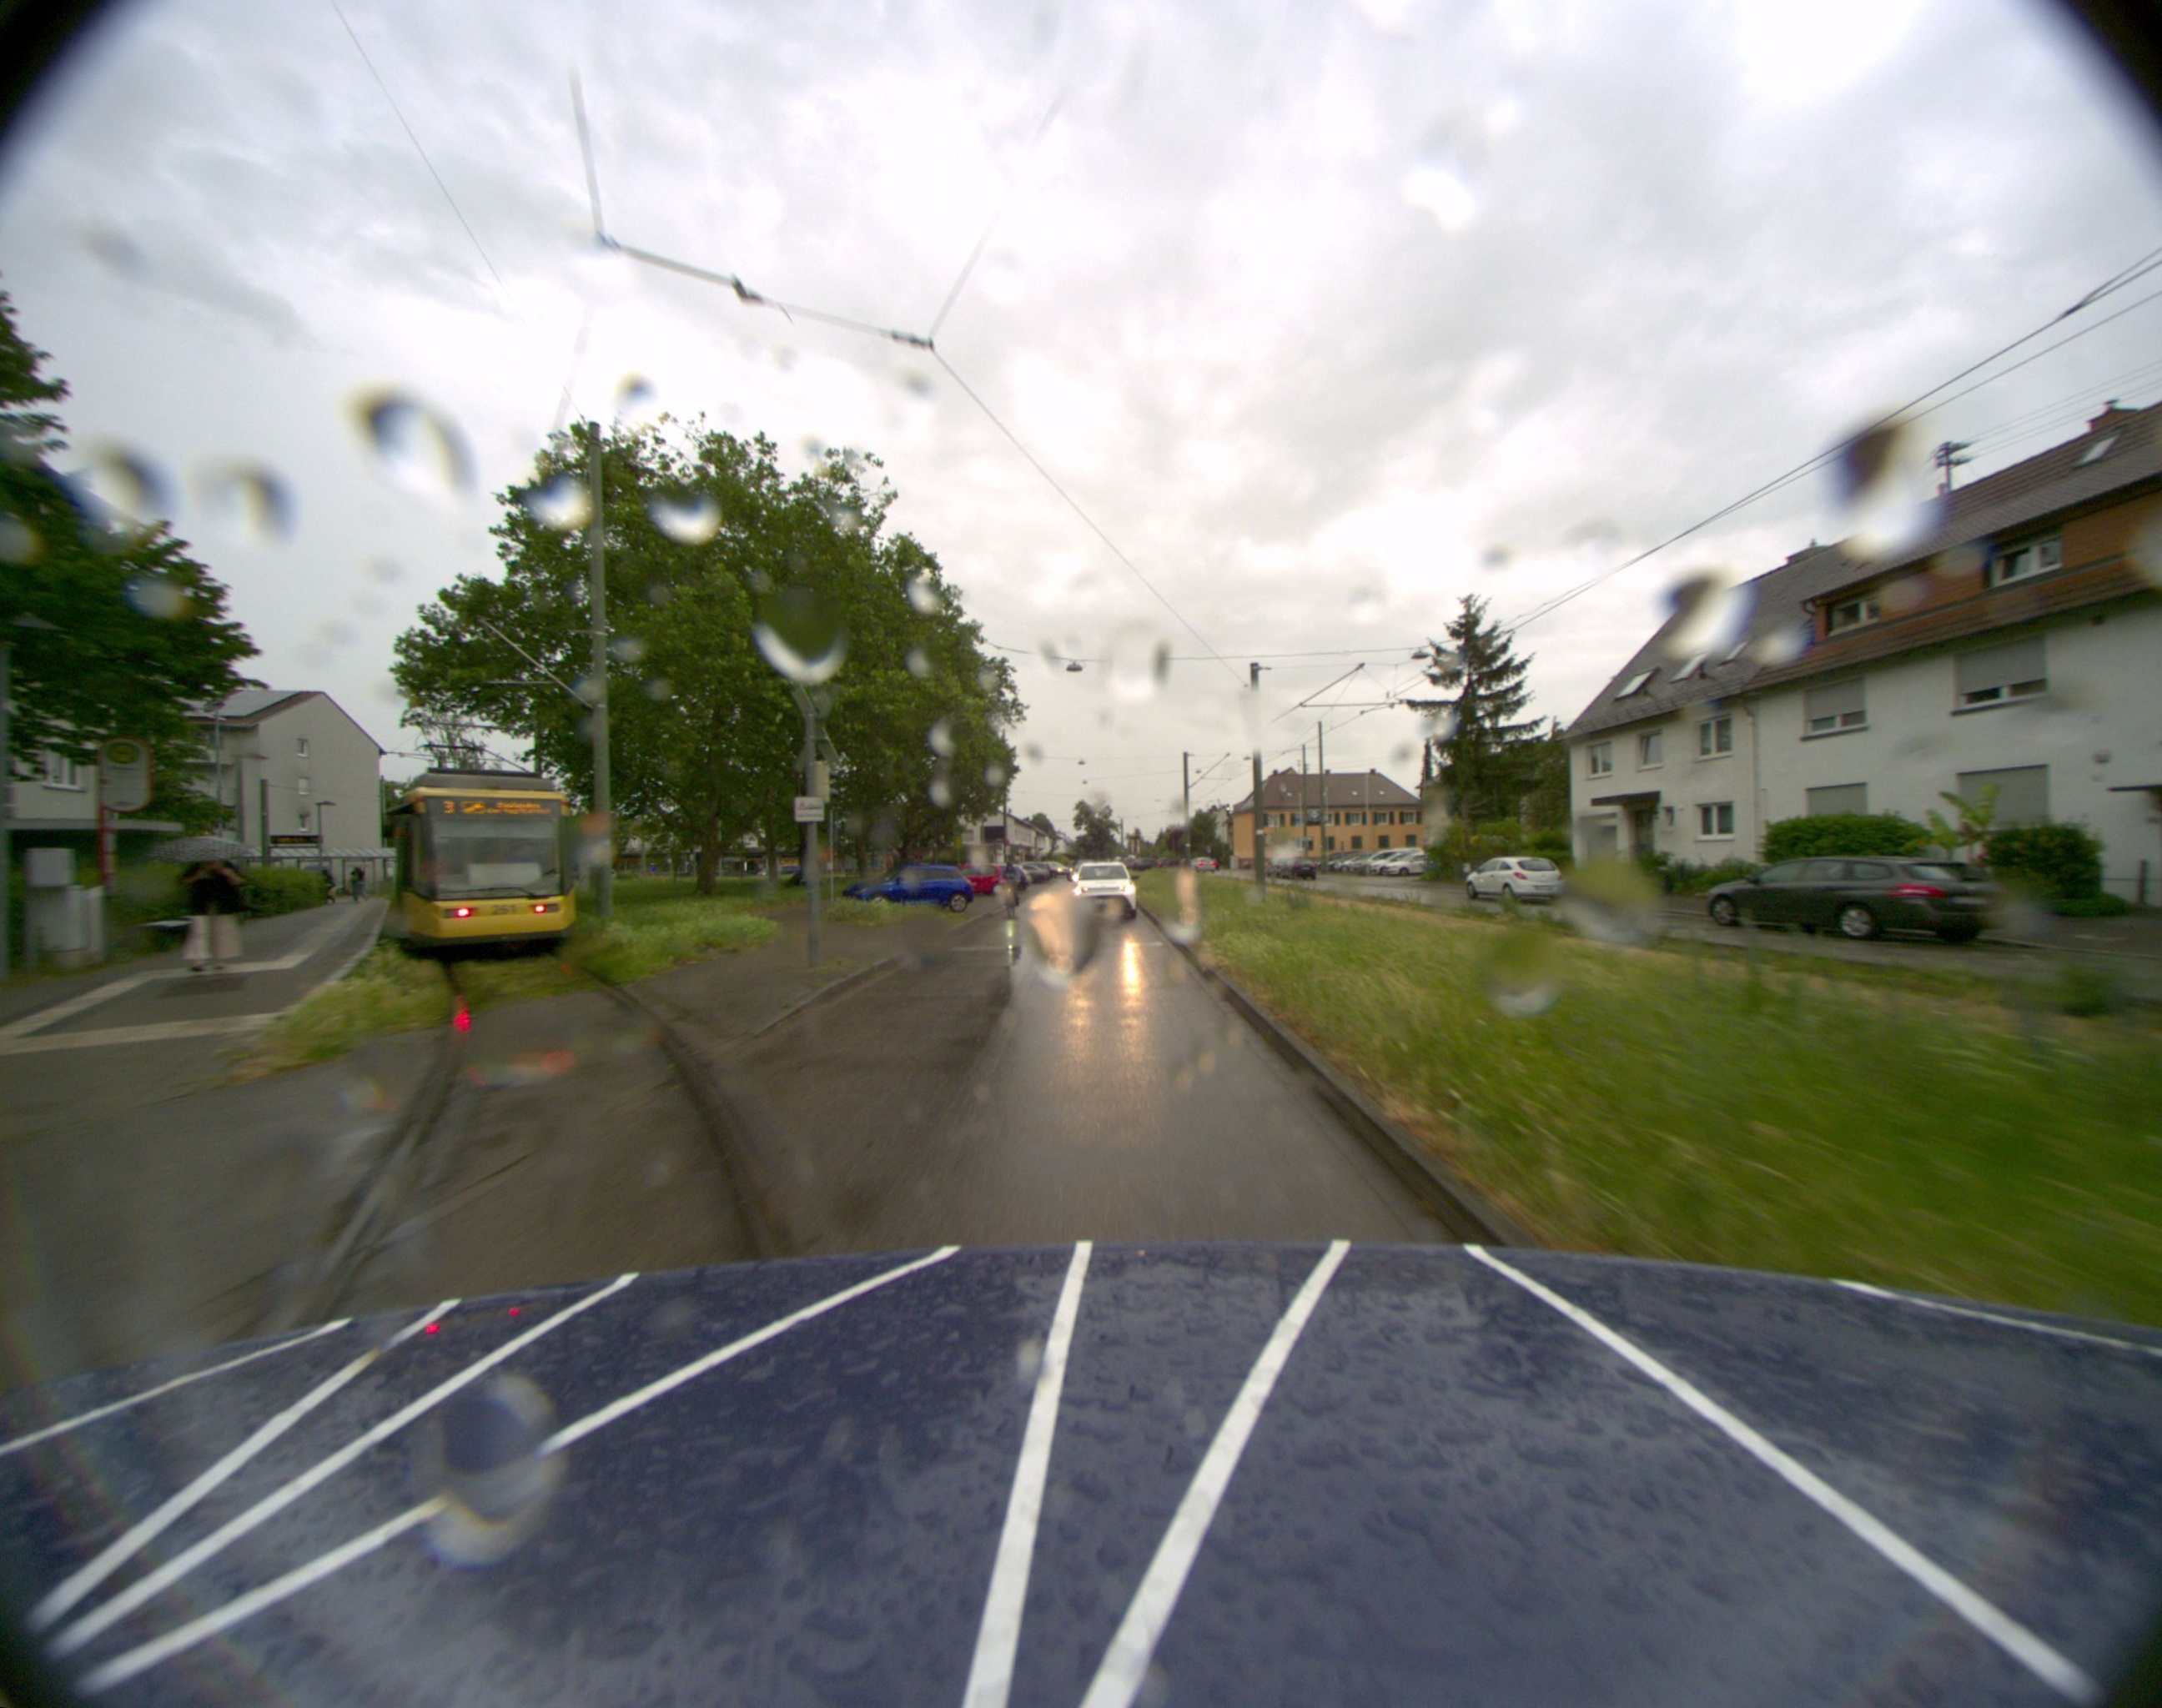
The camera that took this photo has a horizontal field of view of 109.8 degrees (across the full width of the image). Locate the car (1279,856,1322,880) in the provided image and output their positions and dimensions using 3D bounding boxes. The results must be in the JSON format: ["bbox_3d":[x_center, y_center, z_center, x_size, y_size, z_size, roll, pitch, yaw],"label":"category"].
[{"bbox_3d":[15.327,0.972,53.186,1.912,1.581,4.000,-1,0,1],"label":"car"}]

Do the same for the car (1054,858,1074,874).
[{"bbox_3d":[-1.631,1.100,71.905,1.854,1.500,4.119,0,0,-2],"label":"car"}]

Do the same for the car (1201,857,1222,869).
[{"bbox_3d":[15.593,1.030,91.026,1.885,1.423,4.077,-1,0,0],"label":"car"}]

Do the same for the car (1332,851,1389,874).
[{"bbox_3d":[21.766,0.647,59.280,3.993,1.586,1.915,-2,0,15],"label":"car"}]

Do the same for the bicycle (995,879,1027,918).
[{"bbox_3d":[-2.095,1.320,22.943,0.710,1.031,2.099,-1,0,1],"label":"bicycle"}]

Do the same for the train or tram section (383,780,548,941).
[{"bbox_3d":[-16.847,0.171,20.452,2.763,3.320,10.322,-1,0,-42],"label":"train or tram section"}]

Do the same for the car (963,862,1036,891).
[{"bbox_3d":[-4.519,1.208,42.250,3.711,1.475,1.616,-1,0,-24],"label":"car"}]

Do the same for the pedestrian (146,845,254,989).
[{"bbox_3d":[-11.469,0.771,9.919,1.016,1.764,0.867,0,1,41],"label":"pedestrian"}]

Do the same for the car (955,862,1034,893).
[{"bbox_3d":[-4.448,1.172,38.987,3.711,1.475,1.616,-1,0,-24],"label":"car"}]

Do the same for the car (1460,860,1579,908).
[{"bbox_3d":[14.557,0.948,25.480,1.715,1.432,4.000,0,0,0],"label":"car"}]

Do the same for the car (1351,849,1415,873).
[{"bbox_3d":[22.215,0.515,55.984,3.994,1.586,1.915,-2,0,9],"label":"car"}]

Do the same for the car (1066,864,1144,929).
[{"bbox_3d":[0.602,1.045,20.362,1.853,1.500,4.120,0,0,1],"label":"car"}]

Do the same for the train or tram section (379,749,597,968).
[{"bbox_3d":[-11.712,0.087,14.794,2.763,3.320,6.383,-1,0,-42],"label":"train or tram section"}]

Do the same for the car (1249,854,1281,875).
[{"bbox_3d":[16.107,0.880,66.758,1.998,1.648,4.001,-2,0,3],"label":"car"}]

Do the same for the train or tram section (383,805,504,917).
[{"bbox_3d":[-23.155,0.241,27.324,2.763,3.320,10.322,-1,0,-43],"label":"train or tram section"}]

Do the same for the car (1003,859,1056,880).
[{"bbox_3d":[-3.903,1.143,57.955,3.711,1.513,1.616,-1,0,-24],"label":"car"}]

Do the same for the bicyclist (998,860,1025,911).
[{"bbox_3d":[-2.092,0.951,22.960,0.710,1.503,0.715,-1,0,1],"label":"bicyclist"}]

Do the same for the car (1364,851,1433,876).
[{"bbox_3d":[22.119,0.654,53.004,3.996,1.586,1.914,-2,0,3],"label":"car"}]

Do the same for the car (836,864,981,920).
[{"bbox_3d":[-5.272,1.109,23.334,4.006,1.518,1.715,-1,0,-31],"label":"car"}]

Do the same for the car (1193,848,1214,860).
[{"bbox_3d":[16.072,0.015,99.739,2.096,1.423,4.077,-1,0,0],"label":"car"}]

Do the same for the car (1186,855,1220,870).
[{"bbox_3d":[11.879,0.812,74.129,2.107,1.423,4.276,-1,0,-8],"label":"car"}]

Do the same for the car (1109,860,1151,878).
[{"bbox_3d":[4.907,1.475,76.170,4.122,1.732,2.000,-1,0,1],"label":"car"}]

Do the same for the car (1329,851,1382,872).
[{"bbox_3d":[22.303,0.609,61.719,3.991,1.586,1.916,-2,0,21],"label":"car"}]

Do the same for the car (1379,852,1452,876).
[{"bbox_3d":[22.203,0.638,50.519,3.996,1.455,1.914,-2,0,3],"label":"car"}]

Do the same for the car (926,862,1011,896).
[{"bbox_3d":[-5.219,1.125,35.180,3.582,1.451,1.616,-1,0,-25],"label":"car"}]

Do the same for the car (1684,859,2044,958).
[{"bbox_3d":[14.177,0.872,14.302,1.891,1.522,4.756,0,0,0],"label":"car"}]

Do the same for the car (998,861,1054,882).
[{"bbox_3d":[-3.993,1.215,54.861,3.711,1.408,1.616,-1,0,-24],"label":"car"}]

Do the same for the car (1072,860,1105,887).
[{"bbox_3d":[0.458,1.125,44.962,1.853,1.500,4.120,0,0,1],"label":"car"}]

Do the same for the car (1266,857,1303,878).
[{"bbox_3d":[15.447,1.005,57.866,1.881,1.520,4.000,-1,0,1],"label":"car"}]
